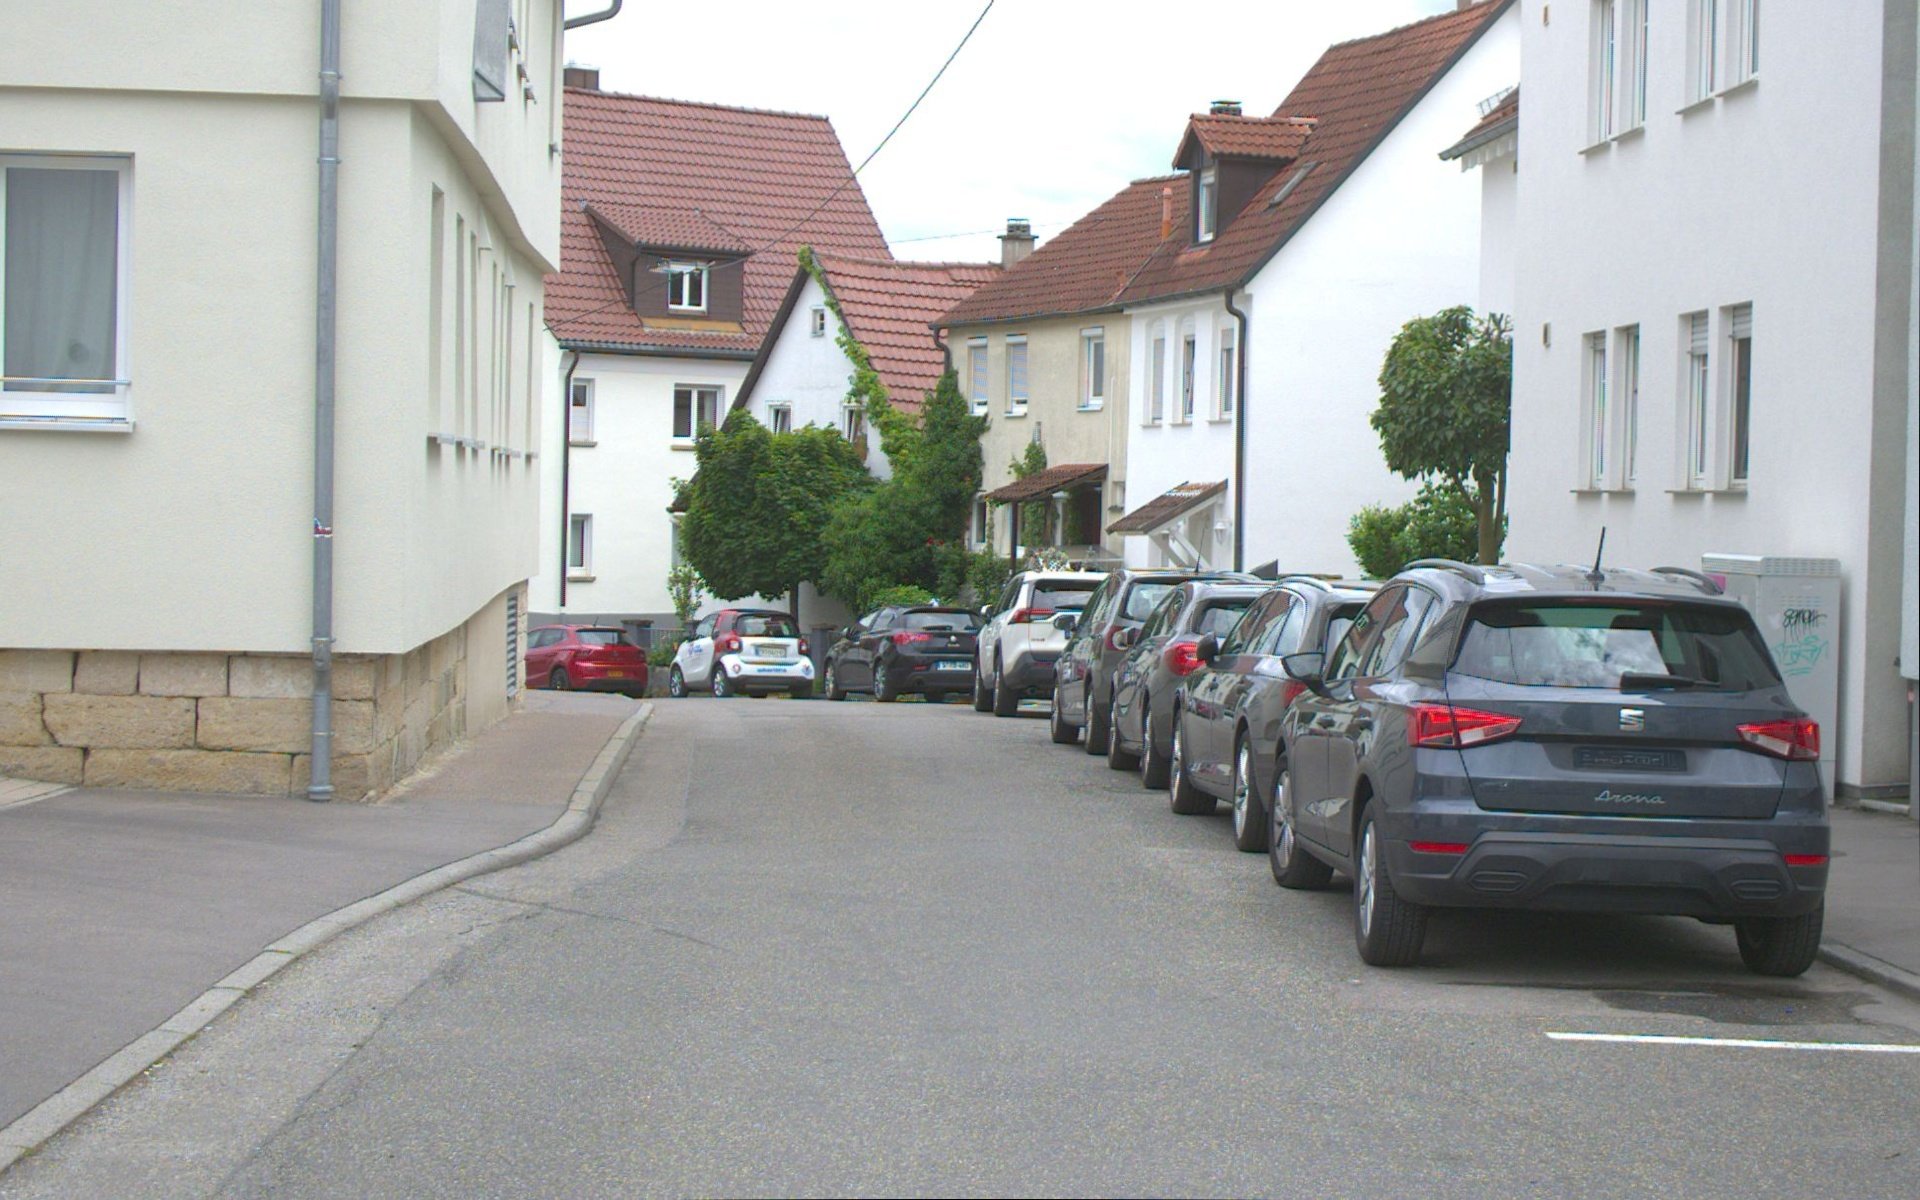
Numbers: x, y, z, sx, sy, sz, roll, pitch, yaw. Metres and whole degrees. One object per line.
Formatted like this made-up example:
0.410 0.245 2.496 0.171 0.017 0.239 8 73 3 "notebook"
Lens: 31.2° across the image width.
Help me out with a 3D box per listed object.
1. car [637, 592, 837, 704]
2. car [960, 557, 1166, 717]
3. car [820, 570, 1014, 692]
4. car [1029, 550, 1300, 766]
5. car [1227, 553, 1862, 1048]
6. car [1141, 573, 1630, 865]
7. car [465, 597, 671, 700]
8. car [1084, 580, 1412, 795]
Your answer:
-3.871 0.801 59.098 1.962 1.707 4.001 1 1 -27 "car"
1.130 0.406 39.675 1.873 1.707 4.148 1 0 -5 "car"
-0.675 0.480 50.283 1.993 1.707 4.001 1 -1 -14 "car"
1.684 0.463 29.551 1.736 1.605 4.000 4 0 -4 "car"
2.216 0.671 14.273 1.753 1.622 4.535 3 1 0 "car"
2.189 0.558 18.999 1.918 1.405 4.656 0 1 -3 "car"
-7.390 0.924 64.473 1.994 1.678 3.999 -5 1 -36 "car"
1.945 0.578 24.337 1.796 1.347 4.075 2 0 -2 "car"
